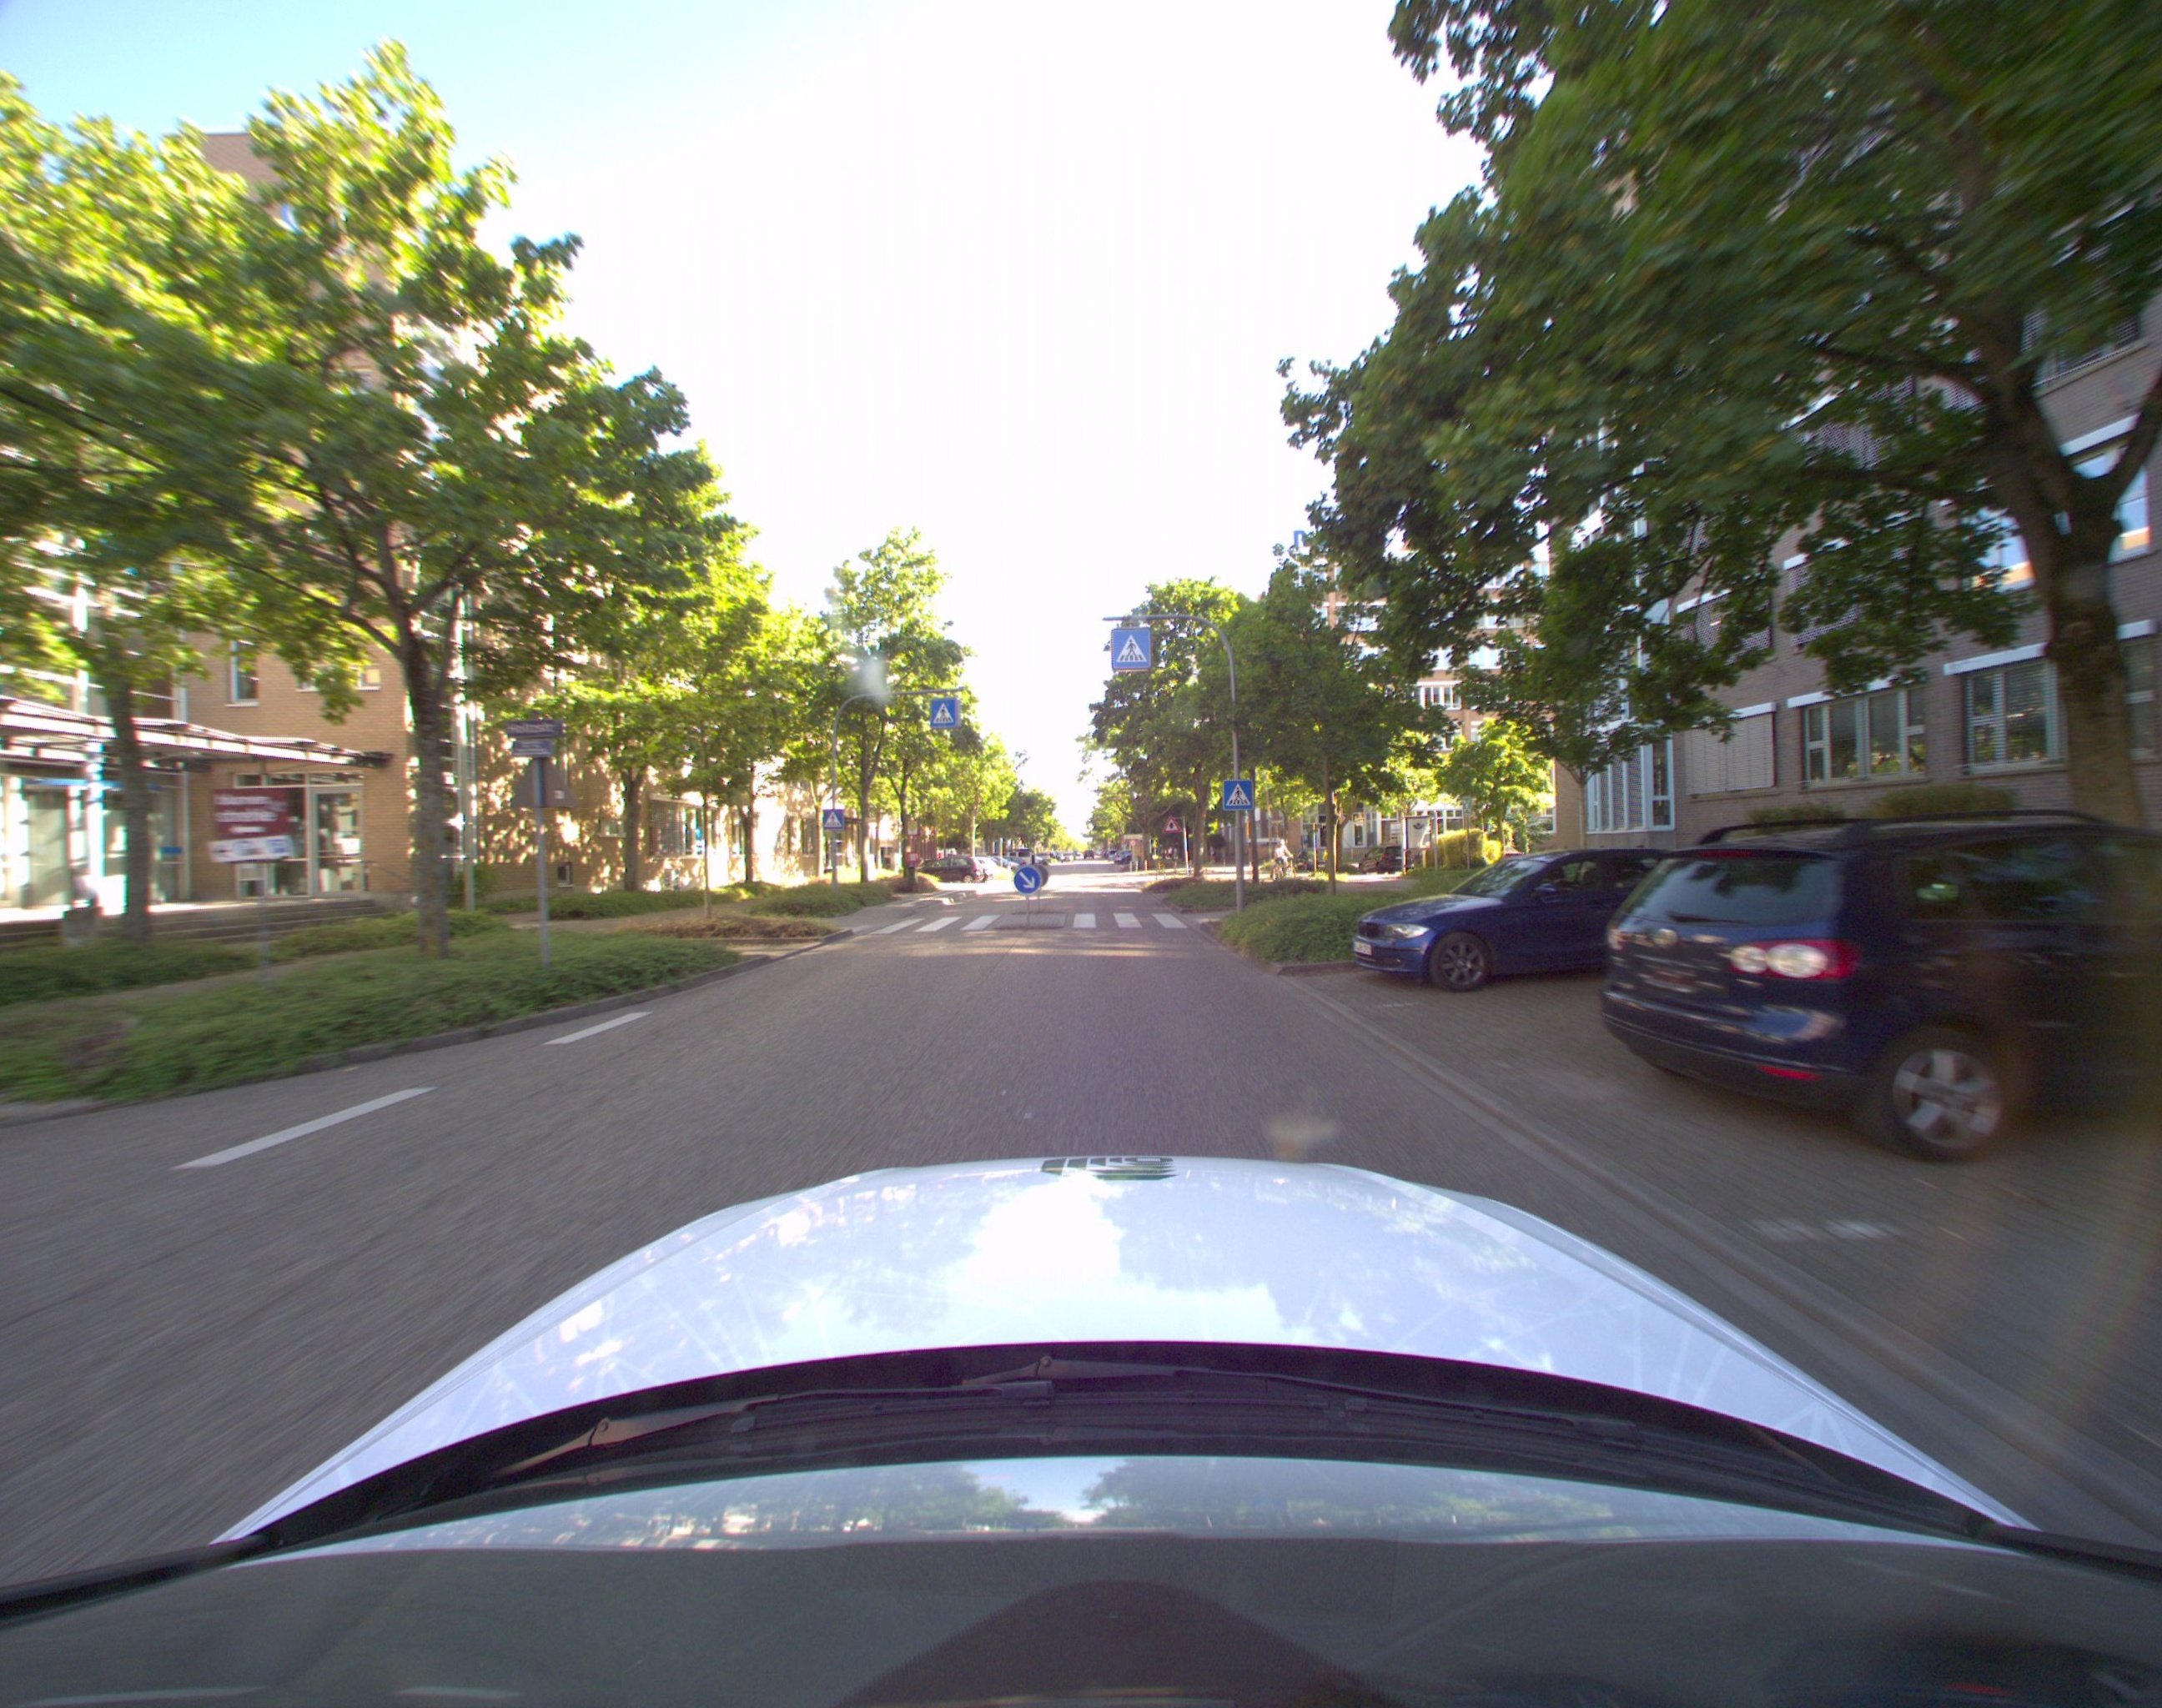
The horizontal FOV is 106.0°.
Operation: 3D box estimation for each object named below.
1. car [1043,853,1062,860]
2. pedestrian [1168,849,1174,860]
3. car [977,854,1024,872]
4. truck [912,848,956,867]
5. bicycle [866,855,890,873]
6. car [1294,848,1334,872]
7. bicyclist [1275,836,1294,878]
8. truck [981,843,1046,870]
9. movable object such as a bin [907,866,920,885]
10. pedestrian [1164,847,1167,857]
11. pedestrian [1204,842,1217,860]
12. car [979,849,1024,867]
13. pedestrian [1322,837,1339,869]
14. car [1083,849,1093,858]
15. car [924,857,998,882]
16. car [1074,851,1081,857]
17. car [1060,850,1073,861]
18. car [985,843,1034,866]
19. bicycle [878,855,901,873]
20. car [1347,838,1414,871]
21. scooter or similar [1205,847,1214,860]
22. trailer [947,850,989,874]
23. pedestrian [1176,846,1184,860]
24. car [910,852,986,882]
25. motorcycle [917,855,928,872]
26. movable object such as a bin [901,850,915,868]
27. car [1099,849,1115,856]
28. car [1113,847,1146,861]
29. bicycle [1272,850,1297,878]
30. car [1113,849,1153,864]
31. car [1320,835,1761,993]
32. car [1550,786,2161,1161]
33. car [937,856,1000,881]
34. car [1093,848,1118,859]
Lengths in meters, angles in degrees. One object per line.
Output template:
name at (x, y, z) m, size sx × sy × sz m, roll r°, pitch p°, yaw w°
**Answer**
car at (-5.940, 0.494, 170.423) m, size 3.881 × 1.464 × 1.857 m, roll -2°, pitch 0°, yaw -1°
pedestrian at (12.344, 0.056, 111.661) m, size 0.698 × 1.458 × 0.715 m, roll -2°, pitch 0°, yaw -3°
car at (-6.947, 0.765, 70.764) m, size 3.818 × 1.461 × 1.734 m, roll 0°, pitch 0°, yaw 3°
truck at (-22.004, 0.537, 122.271) m, size 6.088 × 2.704 × 2.576 m, roll -2°, pitch 0°, yaw -2°
bicycle at (-15.639, 0.779, 62.723) m, size 1.731 × 1.409 × 0.610 m, roll 0°, pitch 0°, yaw -23°
car at (15.721, 0.377, 55.117) m, size 1.647 × 1.462 × 3.917 m, roll -2°, pitch 1°, yaw 0°
bicyclist at (8.200, 0.110, 32.862) m, size 0.535 × 1.636 × 0.823 m, roll -2°, pitch 0°, yaw 1°
truck at (-6.705, 0.208, 81.414) m, size 6.211 × 2.422 × 2.187 m, roll -2°, pitch 0°, yaw 0°
movable object such as a bin at (-6.851, 0.880, 33.389) m, size 0.440 × 0.731 × 0.408 m, roll 0°, pitch 0°, yaw 0°
pedestrian at (11.576, -0.293, 111.729) m, size 0.380 × 1.441 × 0.433 m, roll 0°, pitch 0°, yaw -3°
pedestrian at (12.610, -0.314, 79.246) m, size 0.919 × 1.710 × 0.695 m, roll -5°, pitch 1°, yaw -13°
car at (-7.025, 0.346, 72.576) m, size 3.764 × 1.492 × 1.833 m, roll 0°, pitch 0°, yaw 1°
pedestrian at (12.348, -0.054, 40.311) m, size 0.537 × 1.582 × 0.646 m, roll -2°, pitch 0°, yaw -9°
car at (1.458, -0.120, 161.354) m, size 1.927 × 1.597 × 4.366 m, roll -2°, pitch 0°, yaw 0°
car at (-7.112, 0.918, 48.520) m, size 4.138 × 1.402 × 1.800 m, roll 0°, pitch 0°, yaw -1°
car at (-0.904, -0.015, 208.632) m, size 1.887 × 1.684 × 4.350 m, roll -2°, pitch 0°, yaw -2°
car at (-2.059, 0.228, 119.149) m, size 1.773 × 1.511 × 4.000 m, roll -2°, pitch 0°, yaw 0°
car at (-6.646, 0.050, 76.082) m, size 4.470 × 2.052 × 1.999 m, roll 0°, pitch 0°, yaw -2°
bicycle at (-15.598, 0.810, 66.316) m, size 1.731 × 1.409 × 0.610 m, roll 0°, pitch 0°, yaw -23°
car at (15.679, 0.047, 42.856) m, size 1.733 × 1.566 × 4.362 m, roll -1°, pitch -2°, yaw -2°
scooter or similar at (13.314, -0.069, 84.453) m, size 0.548 × 1.325 × 1.803 m, roll 0°, pitch 0°, yaw -5°
trailer at (-8.097, 0.551, 58.575) m, size 2.716 × 1.687 × 1.712 m, roll 0°, pitch 0°, yaw 0°
pedestrian at (13.155, -0.125, 107.902) m, size 0.696 × 1.710 × 0.917 m, roll -5°, pitch 1°, yaw -11°
car at (-7.443, 0.719, 45.761) m, size 3.975 × 1.570 × 1.728 m, roll 1°, pitch 0°, yaw -1°
motorcycle at (-15.619, 0.918, 80.243) m, size 0.712 × 1.591 × 2.109 m, roll -2°, pitch 0°, yaw -1°
movable object such as a bin at (-15.974, 0.441, 75.153) m, size 1.146 × 1.619 × 1.436 m, roll -2°, pitch 0°, yaw -12°
car at (6.790, -0.320, 216.076) m, size 3.980 × 1.792 × 1.997 m, roll -2°, pitch 0°, yaw -5°
car at (6.846, -0.009, 114.313) m, size 4.392 × 1.618 × 1.911 m, roll -4°, pitch 0°, yaw -1°
bicycle at (8.208, 0.377, 32.880) m, size 0.532 × 1.078 × 1.920 m, roll -2°, pitch 0°, yaw 1°
car at (6.103, 0.278, 95.589) m, size 4.347 × 1.597 × 1.935 m, roll -2°, pitch 0°, yaw -6°
car at (5.063, 0.614, 9.304) m, size 4.107 × 1.370 × 1.652 m, roll -4°, pitch 0°, yaw -4°
car at (5.235, 0.489, 4.641) m, size 4.114 × 1.590 × 1.659 m, roll -4°, pitch -2°, yaw -2°
car at (-7.095, 0.901, 51.564) m, size 3.743 × 1.452 × 1.754 m, roll 0°, pitch 1°, yaw -1°
car at (4.266, -0.088, 144.321) m, size 4.257 × 1.633 × 1.856 m, roll -3°, pitch 0°, yaw -3°
